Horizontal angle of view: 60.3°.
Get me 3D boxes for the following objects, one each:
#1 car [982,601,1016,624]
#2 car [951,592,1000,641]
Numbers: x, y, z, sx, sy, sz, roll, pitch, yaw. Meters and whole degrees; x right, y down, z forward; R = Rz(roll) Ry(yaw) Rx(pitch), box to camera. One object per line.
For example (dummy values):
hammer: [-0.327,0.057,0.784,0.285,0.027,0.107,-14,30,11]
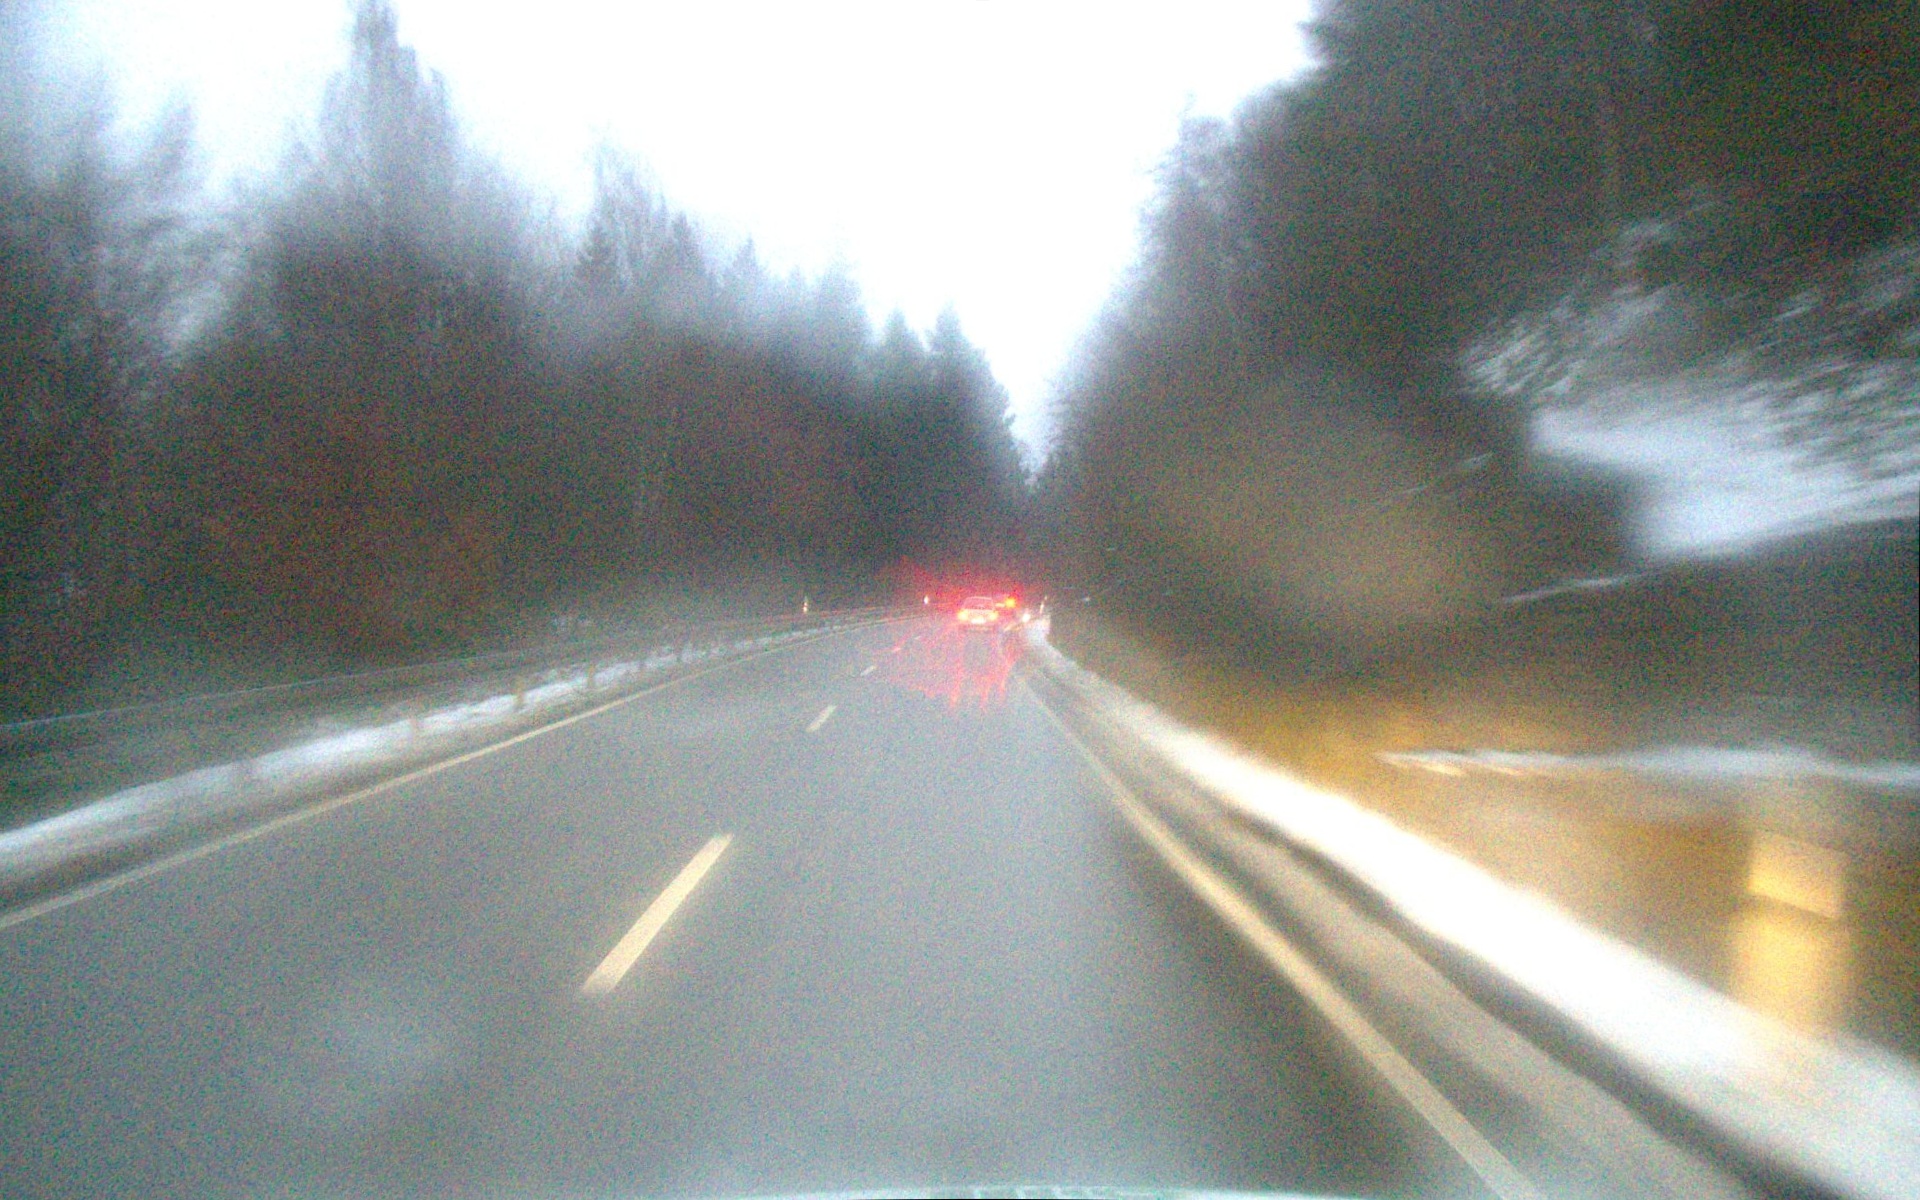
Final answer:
car: [2.402,0.770,102.477,1.953,1.333,4.000,-2,0,0]
car: [0.636,0.655,69.298,1.953,1.905,4.000,-2,0,0]
